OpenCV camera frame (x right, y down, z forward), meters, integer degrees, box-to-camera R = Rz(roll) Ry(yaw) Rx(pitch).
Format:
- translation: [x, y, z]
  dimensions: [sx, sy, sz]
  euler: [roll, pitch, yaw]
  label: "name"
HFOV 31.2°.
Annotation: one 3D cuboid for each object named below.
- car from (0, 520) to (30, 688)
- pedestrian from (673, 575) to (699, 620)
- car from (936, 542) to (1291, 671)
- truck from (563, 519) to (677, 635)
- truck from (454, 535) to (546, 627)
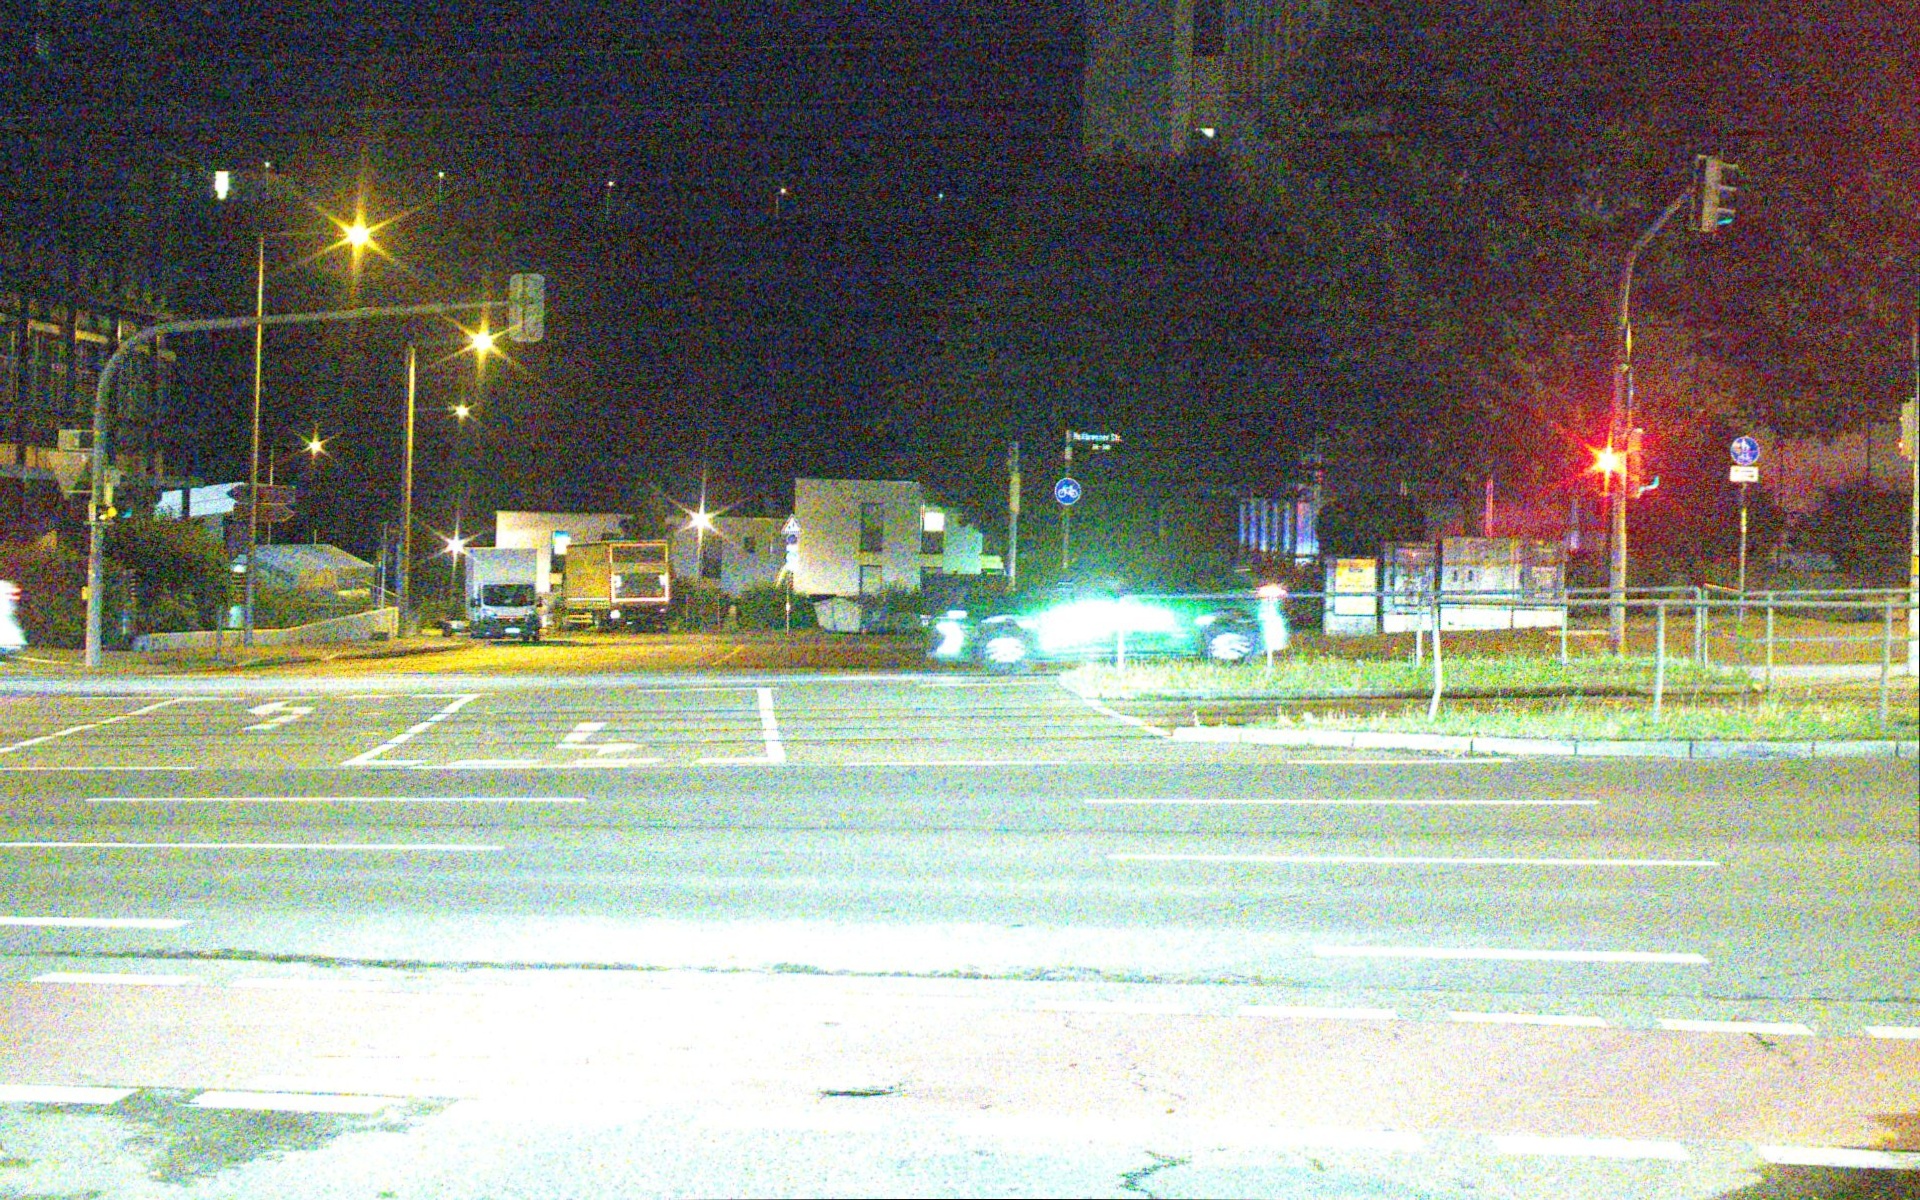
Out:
- translation: [-12.944, 0.031, 38.039]
  dimensions: [4.780, 1.838, 1.843]
  euler: [0, 0, 3]
  label: "car"
- translation: [-11.766, -0.118, 147.652]
  dimensions: [0.849, 1.905, 1.007]
  euler: [1, 0, -18]
  label: "pedestrian"
- translation: [1.799, 0.060, 40.326]
  dimensions: [4.061, 1.419, 1.843]
  euler: [0, 3, 3]
  label: "car"
- translation: [-14.773, -0.995, 148.856]
  dimensions: [3.359, 4.826, 7.908]
  euler: [1, 0, -17]
  label: "truck"
- translation: [-16.043, -0.649, 119.562]
  dimensions: [2.417, 3.078, 6.439]
  euler: [1, 0, -14]
  label: "truck"
